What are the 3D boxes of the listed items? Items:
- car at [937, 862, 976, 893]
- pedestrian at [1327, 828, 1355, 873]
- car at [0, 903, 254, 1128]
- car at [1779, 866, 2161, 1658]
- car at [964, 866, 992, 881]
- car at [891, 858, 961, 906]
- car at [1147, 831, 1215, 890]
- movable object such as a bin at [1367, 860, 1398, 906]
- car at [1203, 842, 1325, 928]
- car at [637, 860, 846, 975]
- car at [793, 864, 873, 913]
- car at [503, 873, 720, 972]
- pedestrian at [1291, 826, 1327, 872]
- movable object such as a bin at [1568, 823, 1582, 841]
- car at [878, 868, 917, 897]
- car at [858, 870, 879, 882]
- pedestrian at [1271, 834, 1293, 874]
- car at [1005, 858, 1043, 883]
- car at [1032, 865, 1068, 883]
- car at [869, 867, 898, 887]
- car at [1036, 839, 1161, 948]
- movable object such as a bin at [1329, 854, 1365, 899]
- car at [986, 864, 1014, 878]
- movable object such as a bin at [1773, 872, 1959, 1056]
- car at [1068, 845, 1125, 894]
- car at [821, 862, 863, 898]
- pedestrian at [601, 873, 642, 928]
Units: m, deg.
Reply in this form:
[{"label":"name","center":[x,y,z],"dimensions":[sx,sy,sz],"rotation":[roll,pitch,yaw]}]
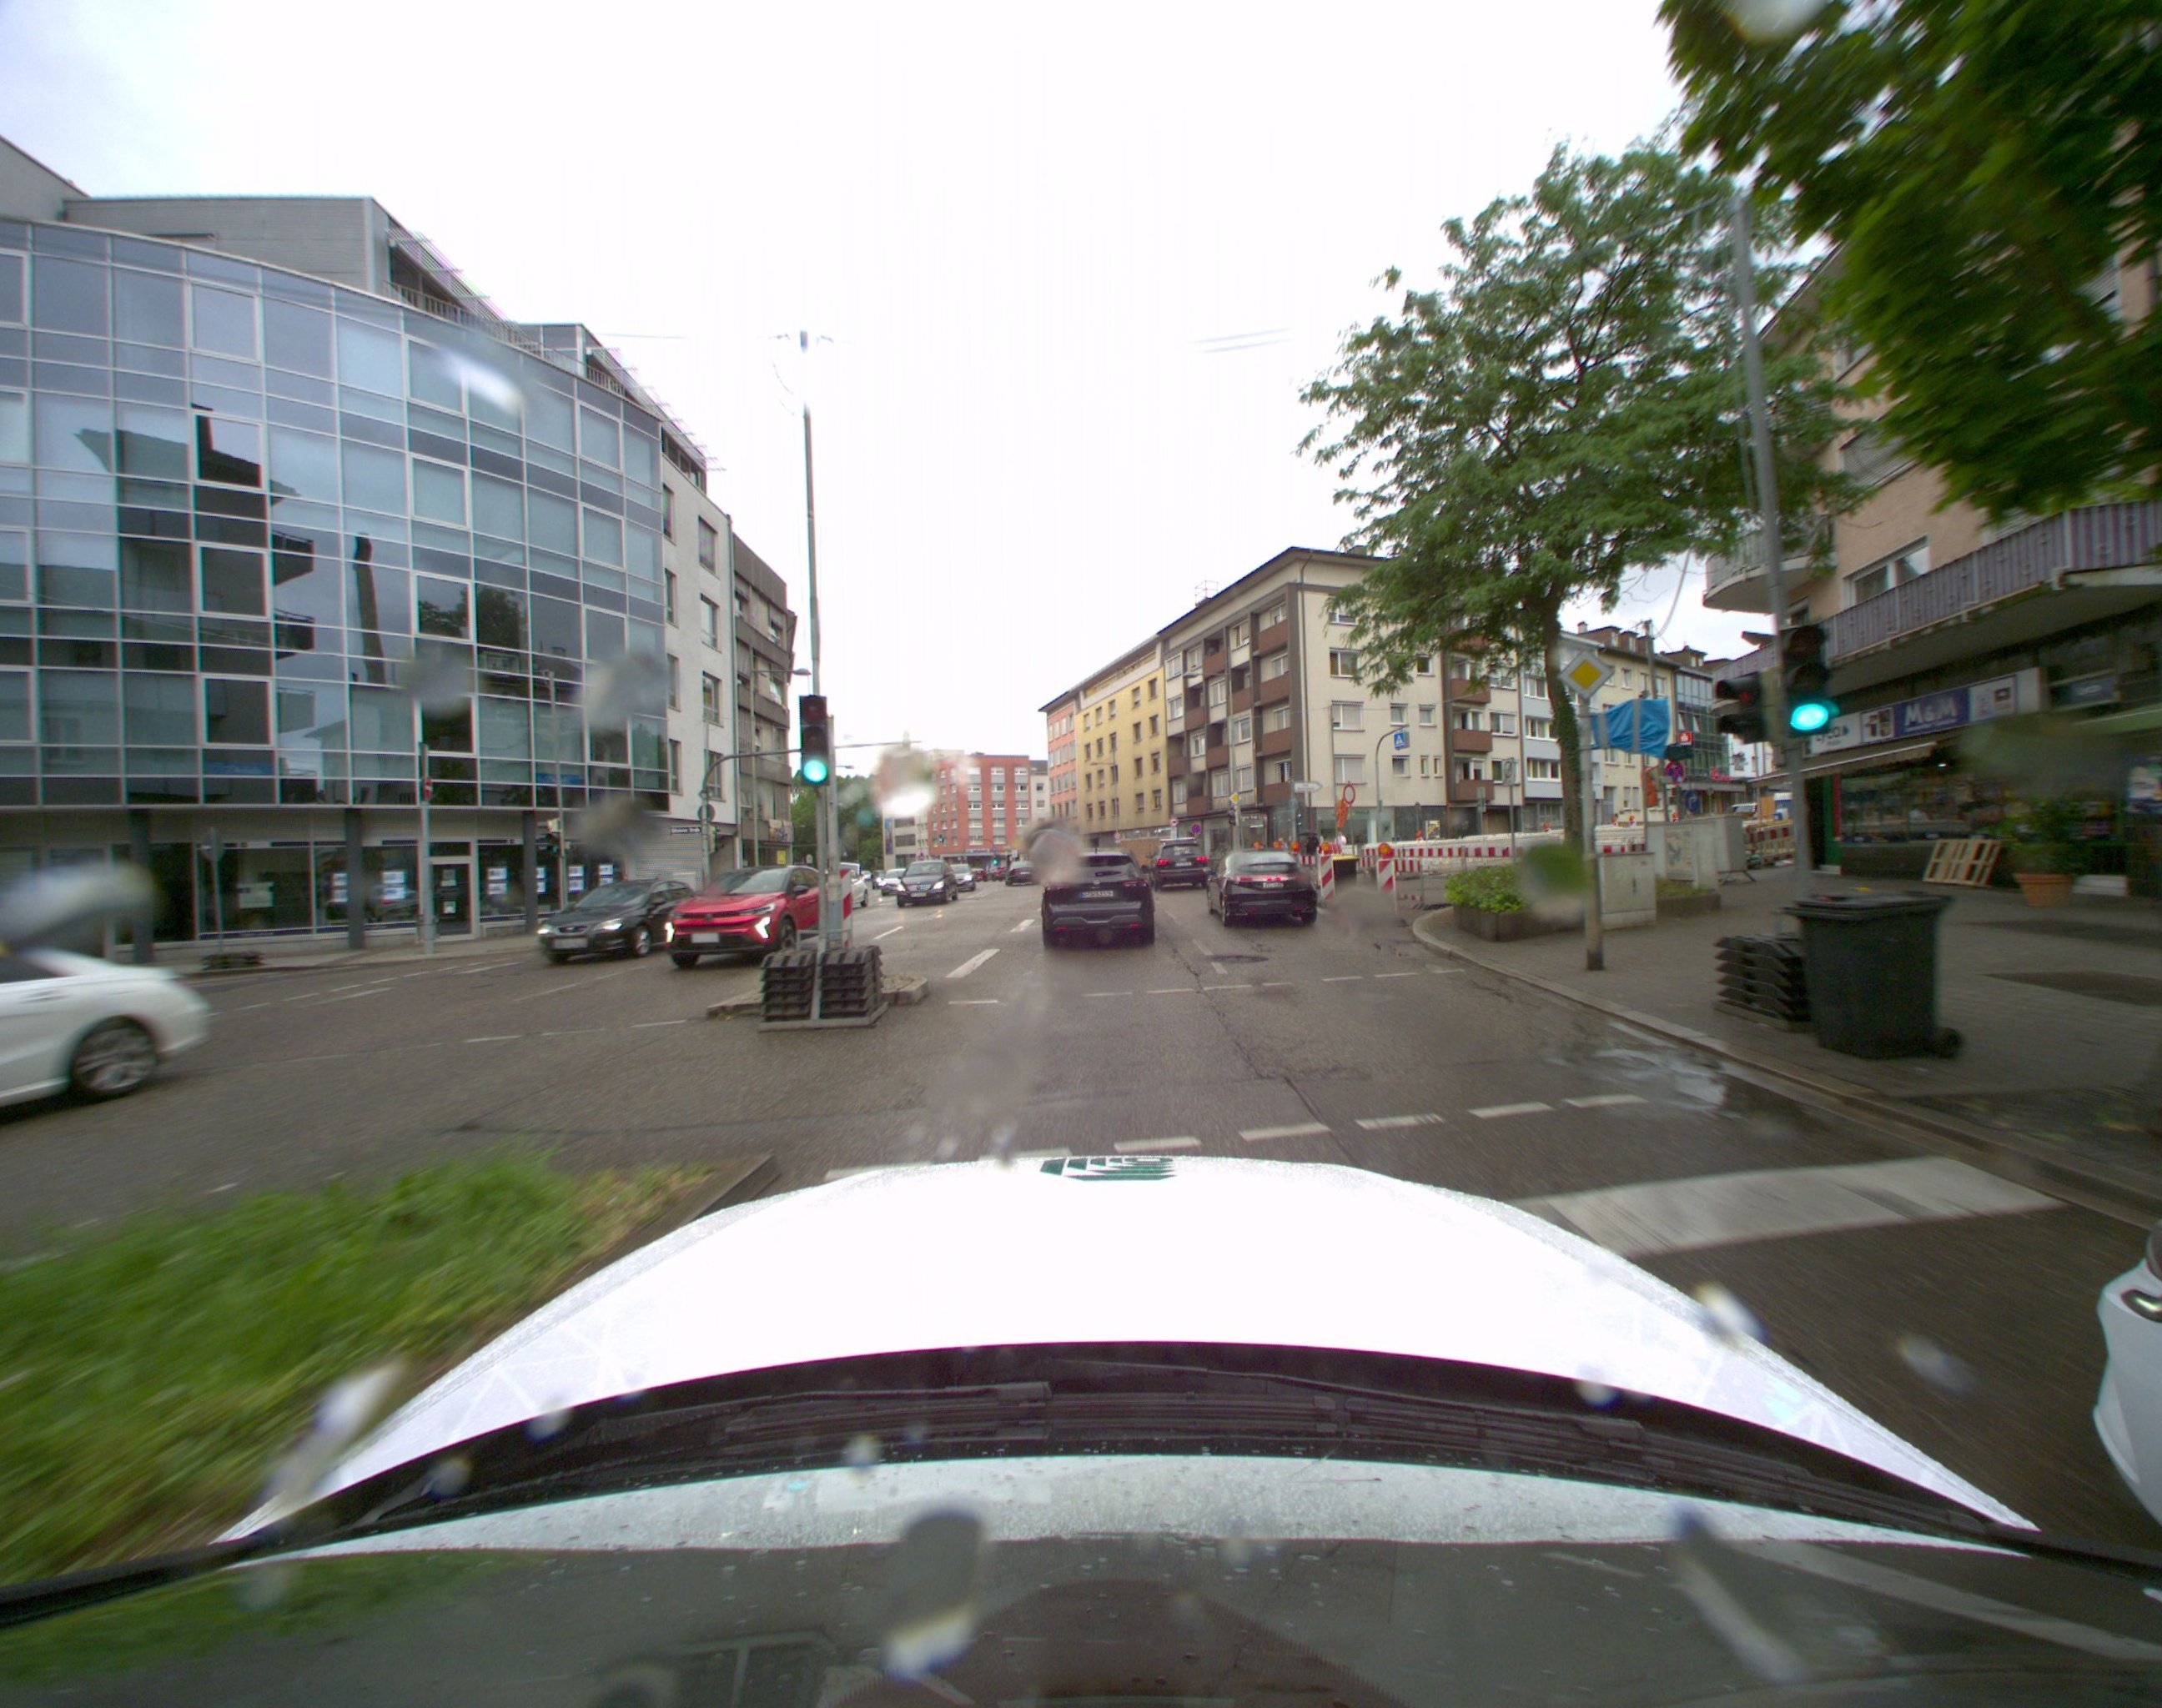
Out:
[{"label":"car","center":[-6.592,1.237,43.630],"dimensions":[1.851,1.474,4.636],"rotation":[-3,0,-7]},{"label":"pedestrian","center":[11.314,-0.142,35.433],"dimensions":[0.999,1.879,0.649],"rotation":[-2,-3,-45]},{"label":"car","center":[-8.243,1.221,4.942],"dimensions":[1.842,1.417,4.608],"rotation":[-5,0,-4]},{"label":"car","center":[2.785,0.742,0.259],"dimensions":[1.670,1.403,4.001],"rotation":[-4,0,1]},{"label":"car","center":[-10.351,1.946,81.549],"dimensions":[1.999,1.530,3.974],"rotation":[0,-1,-19]},{"label":"car","center":[-5.630,0.967,30.050],"dimensions":[1.825,1.543,4.280],"rotation":[-3,0,-2]},{"label":"car","center":[3.562,0.224,29.792],"dimensions":[2.013,1.869,4.902],"rotation":[-3,0,2]},{"label":"movable object such as a bin","center":[6.542,0.624,17.681],"dimensions":[0.418,0.929,0.531],"rotation":[-4,1,-1]},{"label":"car","center":[3.596,0.529,16.685],"dimensions":[1.776,1.496,4.061],"rotation":[-2,1,3]},{"label":"car","center":[-5.631,0.949,14.151],"dimensions":[1.841,1.594,4.090],"rotation":[-3,0,0]},{"label":"car","center":[-8.965,1.202,29.790],"dimensions":[1.769,1.524,4.278],"rotation":[-3,0,-4]},{"label":"car","center":[-8.900,1.215,15.893],"dimensions":[1.841,1.497,3.999],"rotation":[-3,0,0]},{"label":"pedestrian","center":[9.822,-0.217,35.139],"dimensions":[0.924,1.861,1.019],"rotation":[-2,-3,-41]},{"label":"movable object such as a bin","center":[30.162,-1.344,49.743],"dimensions":[0.541,1.048,0.526],"rotation":[0,-1,-31]},{"label":"car","center":[-10.644,1.626,47.454],"dimensions":[1.930,1.474,4.586],"rotation":[-5,0,-11]},{"label":"car","center":[-31.106,3.260,118.936],"dimensions":[1.946,1.527,4.096],"rotation":[-2,-1,-29]},{"label":"pedestrian","center":[8.803,0.008,35.613],"dimensions":[0.786,1.688,0.824],"rotation":[-4,-2,15]},{"label":"car","center":[-3.369,0.982,47.746],"dimensions":[1.992,1.388,4.488],"rotation":[0,-1,-7]},{"label":"car","center":[-2.760,1.728,71.643],"dimensions":[2.001,1.486,3.972],"rotation":[0,-1,-21]},{"label":"car","center":[-16.199,1.893,66.651],"dimensions":[1.729,1.399,3.567],"rotation":[-4,0,-23]},{"label":"car","center":[0.274,0.617,14.509],"dimensions":[1.888,1.629,3.999],"rotation":[-1,0,0]},{"label":"movable object such as a bin","center":[6.458,0.545,19.781],"dimensions":[0.619,1.031,0.531],"rotation":[-4,1,-1]},{"label":"car","center":[-8.642,1.812,86.785],"dimensions":[2.000,1.519,3.973],"rotation":[0,-1,-20]},{"label":"movable object such as a bin","center":[5.284,0.710,5.522],"dimensions":[0.575,1.111,0.666],"rotation":[-4,1,5]},{"label":"car","center":[0.675,0.569,32.094],"dimensions":[1.937,1.684,4.004],"rotation":[-4,0,3]},{"label":"car","center":[-14.171,1.559,48.477],"dimensions":[2.121,2.015,5.103],"rotation":[0,-3,-14]},{"label":"pedestrian","center":[-14.140,1.416,25.087],"dimensions":[0.618,1.608,0.837],"rotation":[-3,0,26]}]
